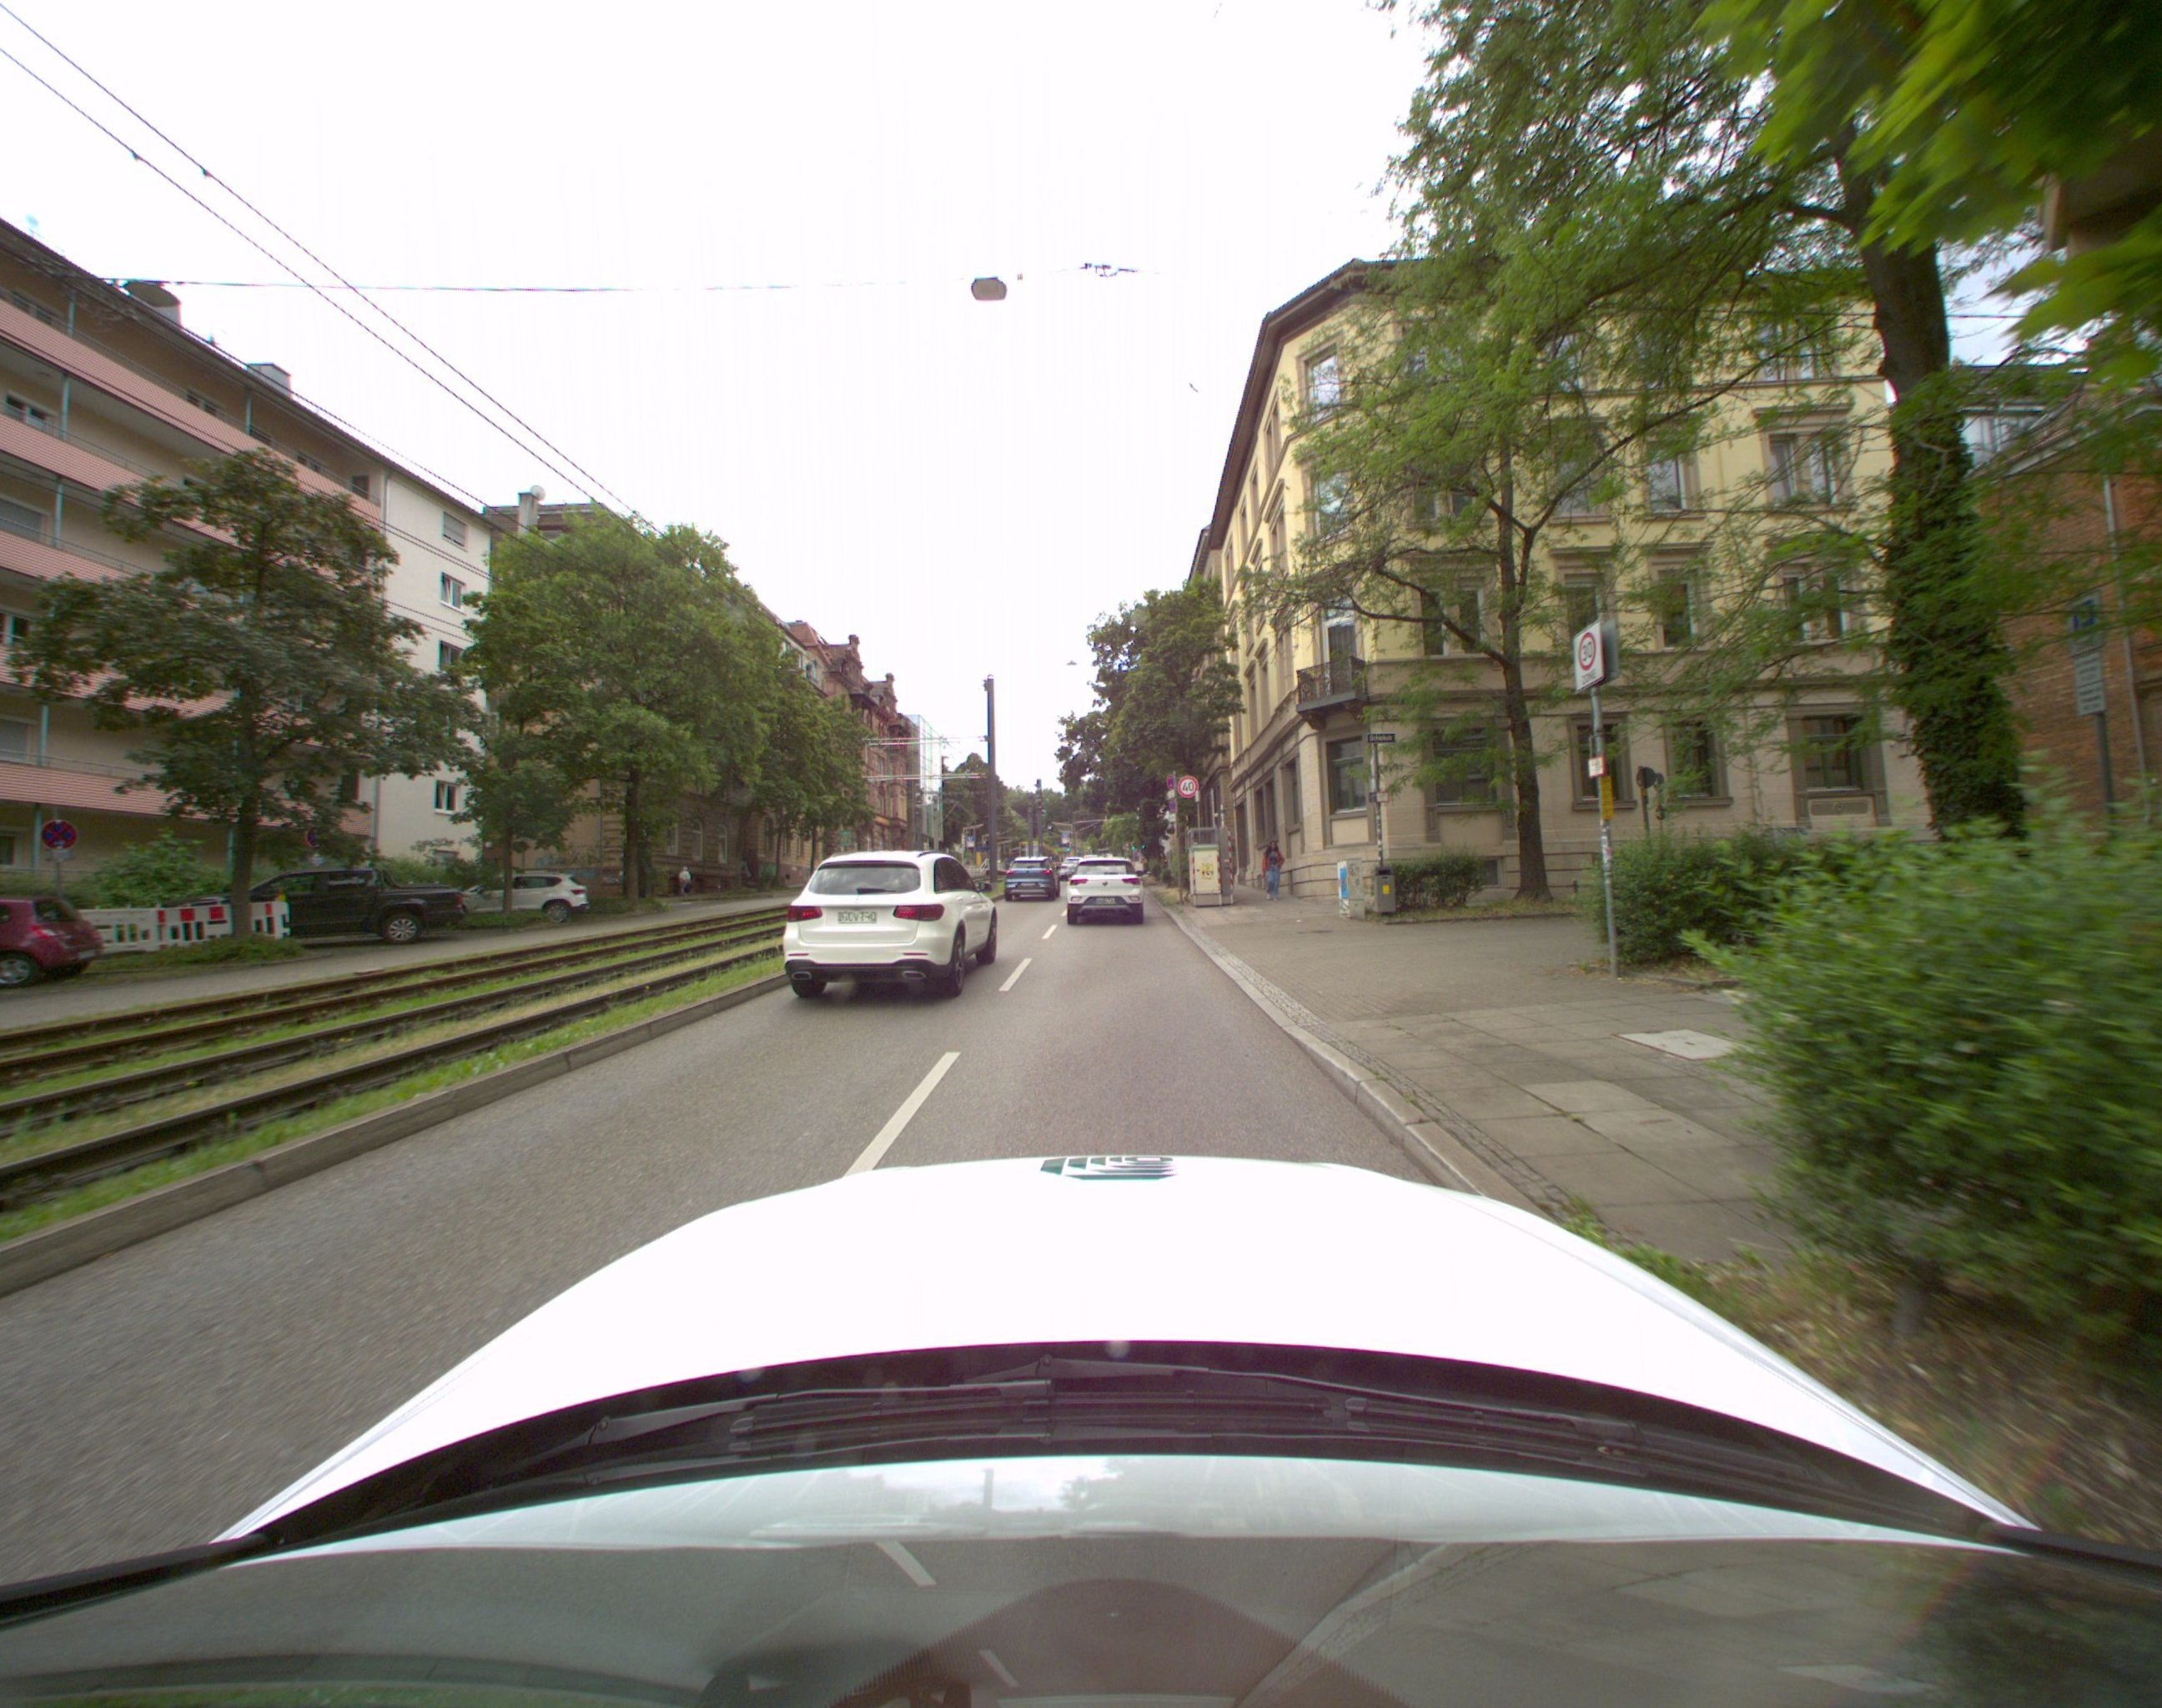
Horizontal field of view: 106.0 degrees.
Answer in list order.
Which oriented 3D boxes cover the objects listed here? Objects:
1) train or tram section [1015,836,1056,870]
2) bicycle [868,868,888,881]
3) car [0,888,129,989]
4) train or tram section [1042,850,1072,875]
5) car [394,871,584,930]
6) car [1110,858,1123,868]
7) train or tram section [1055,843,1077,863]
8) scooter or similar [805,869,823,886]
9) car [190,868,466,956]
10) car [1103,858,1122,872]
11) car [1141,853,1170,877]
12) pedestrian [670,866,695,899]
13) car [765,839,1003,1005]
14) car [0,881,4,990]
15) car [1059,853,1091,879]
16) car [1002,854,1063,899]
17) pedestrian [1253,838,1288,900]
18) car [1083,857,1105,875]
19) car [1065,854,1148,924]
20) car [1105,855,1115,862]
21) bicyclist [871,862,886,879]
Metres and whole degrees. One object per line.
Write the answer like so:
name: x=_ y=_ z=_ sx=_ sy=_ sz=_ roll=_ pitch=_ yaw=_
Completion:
train or tram section: x=-4.877 y=-0.034 z=89.827 sx=2.983 sy=3.349 sz=13.448 roll=-2 pitch=-1 yaw=3
bicycle: x=-17.888 y=1.795 z=71.921 sx=0.934 sy=1.100 sz=2.704 roll=-2 pitch=0 yaw=2
car: x=-18.958 y=1.380 z=12.916 sx=4.622 sy=1.548 sz=1.917 roll=0 pitch=-1 yaw=-31
train or tram section: x=-3.347 y=1.240 z=116.843 sx=2.983 sy=3.349 sz=13.448 roll=-2 pitch=-1 yaw=3
car: x=-18.121 y=1.359 z=25.247 sx=4.623 sy=1.617 sz=1.917 roll=0 pitch=-1 yaw=-32
car: x=5.823 y=1.479 z=133.551 sx=2.060 sy=1.546 sz=4.196 roll=0 pitch=-1 yaw=2
train or tram section: x=-2.620 y=-0.080 z=147.027 sx=2.983 sy=3.349 sz=13.448 roll=-2 pitch=-1 yaw=3
scooter or similar: x=-20.410 y=1.764 z=62.319 sx=0.627 sy=1.255 sz=2.214 roll=-2 pitch=0 yaw=0
car: x=-17.649 y=1.259 z=19.341 sx=4.634 sy=1.797 sz=1.912 roll=0 pitch=-1 yaw=-45
car: x=3.575 y=1.203 z=92.097 sx=2.060 sy=1.546 sz=4.196 roll=0 pitch=-1 yaw=2
car: x=5.413 y=0.815 z=59.799 sx=1.828 sy=1.601 sz=4.196 roll=-3 pitch=-1 yaw=2
pedestrian: x=-20.739 y=1.487 z=42.406 sx=0.828 sy=1.684 sz=0.848 roll=-3 pitch=-1 yaw=0
car: x=-2.220 y=0.704 z=10.578 sx=1.829 sy=1.667 sz=4.672 roll=0 pitch=-1 yaw=2
car: x=-18.200 y=1.253 z=10.595 sx=4.622 sy=1.682 sz=1.917 roll=0 pitch=-1 yaw=-31
car: x=-0.337 y=0.733 z=51.534 sx=1.828 sy=1.546 sz=4.196 roll=0 pitch=-1 yaw=2
car: x=-1.703 y=0.794 z=30.175 sx=1.828 sy=1.546 sz=4.196 roll=0 pitch=-1 yaw=2
pedestrian: x=5.255 y=0.409 z=22.620 sx=0.707 sy=1.662 sz=1.128 roll=-2 pitch=0 yaw=4
car: x=1.199 y=1.043 z=72.910 sx=1.828 sy=1.546 sz=4.196 roll=0 pitch=-1 yaw=2
car: x=0.610 y=0.789 z=20.134 sx=1.829 sy=1.546 sz=4.194 roll=0 pitch=-1 yaw=1
car: x=6.634 y=1.092 z=185.686 sx=2.060 sy=1.546 sz=4.196 roll=0 pitch=-1 yaw=2
bicyclist: x=-17.892 y=1.438 z=71.967 sx=0.935 sy=1.425 sz=1.188 roll=-2 pitch=0 yaw=2
